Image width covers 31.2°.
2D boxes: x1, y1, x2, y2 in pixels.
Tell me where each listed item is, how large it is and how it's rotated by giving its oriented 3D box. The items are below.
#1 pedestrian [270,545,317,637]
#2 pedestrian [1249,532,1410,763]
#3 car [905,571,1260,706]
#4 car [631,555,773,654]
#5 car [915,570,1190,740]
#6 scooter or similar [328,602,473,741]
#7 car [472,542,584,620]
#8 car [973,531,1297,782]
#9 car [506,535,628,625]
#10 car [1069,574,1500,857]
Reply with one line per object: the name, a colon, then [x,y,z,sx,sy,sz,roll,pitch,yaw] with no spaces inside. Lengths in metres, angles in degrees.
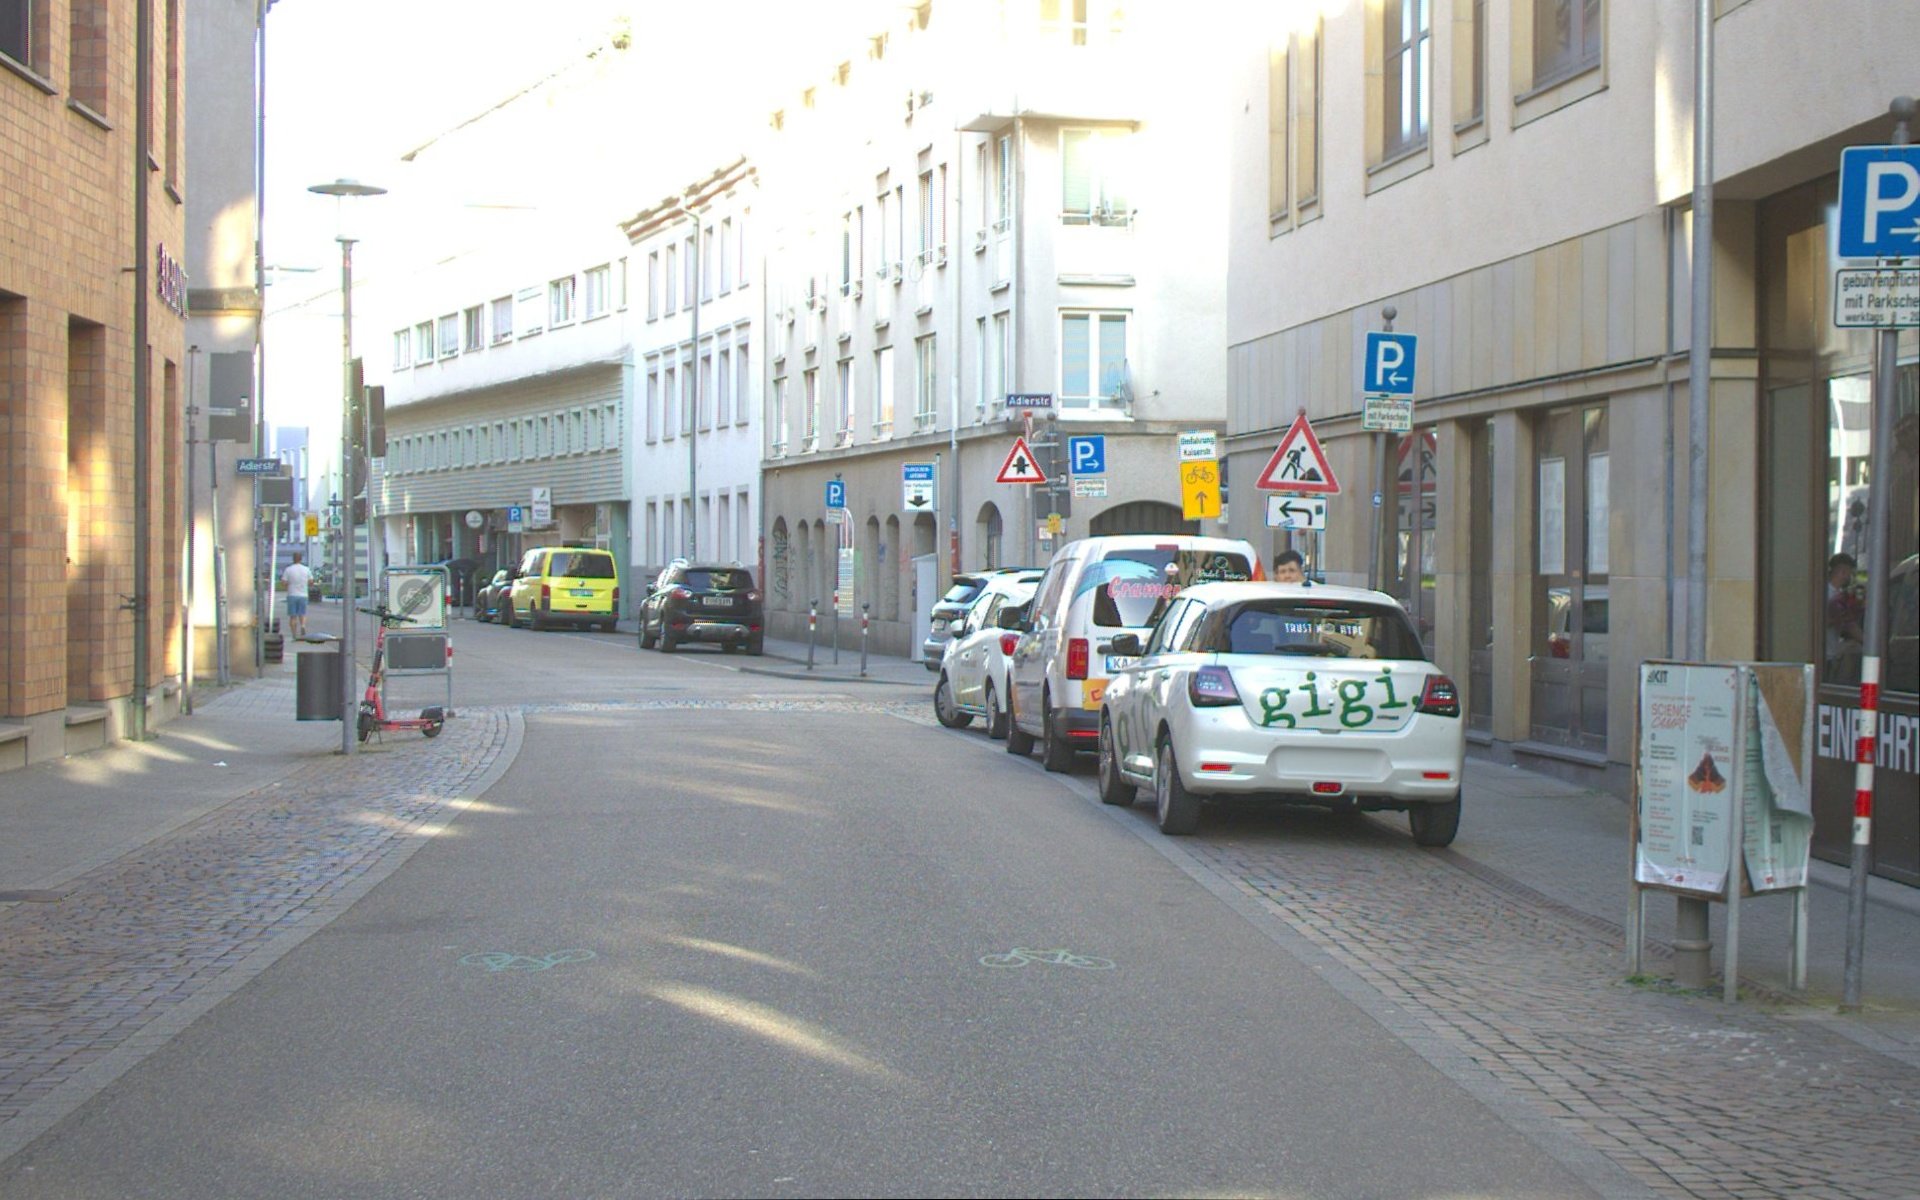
pedestrian: [-12.620,-0.171,65.065,0.765,1.718,0.687,1,1,-18]
pedestrian: [2.932,0.368,27.418,1.042,1.795,1.199,1,0,-5]
car: [1.461,0.443,41.764,3.986,1.557,1.843,0,1,-12]
car: [-4.785,0.050,63.234,1.967,1.686,4.102,2,1,-13]
car: [0.830,0.494,33.584,1.888,1.513,4.064,1,1,-10]
scooter or similar: [-5.101,0.639,31.400,0.698,1.213,1.355,0,1,22]
car: [-10.712,-0.490,84.983,2.052,1.866,4.101,0,1,-17]
car: [1.290,0.387,27.651,1.830,1.785,5.215,2,0,-5]
car: [-9.098,-0.477,79.313,2.052,2.007,4.176,0,1,-17]
car: [1.891,0.638,21.374,1.840,1.473,4.169,3,1,-6]
